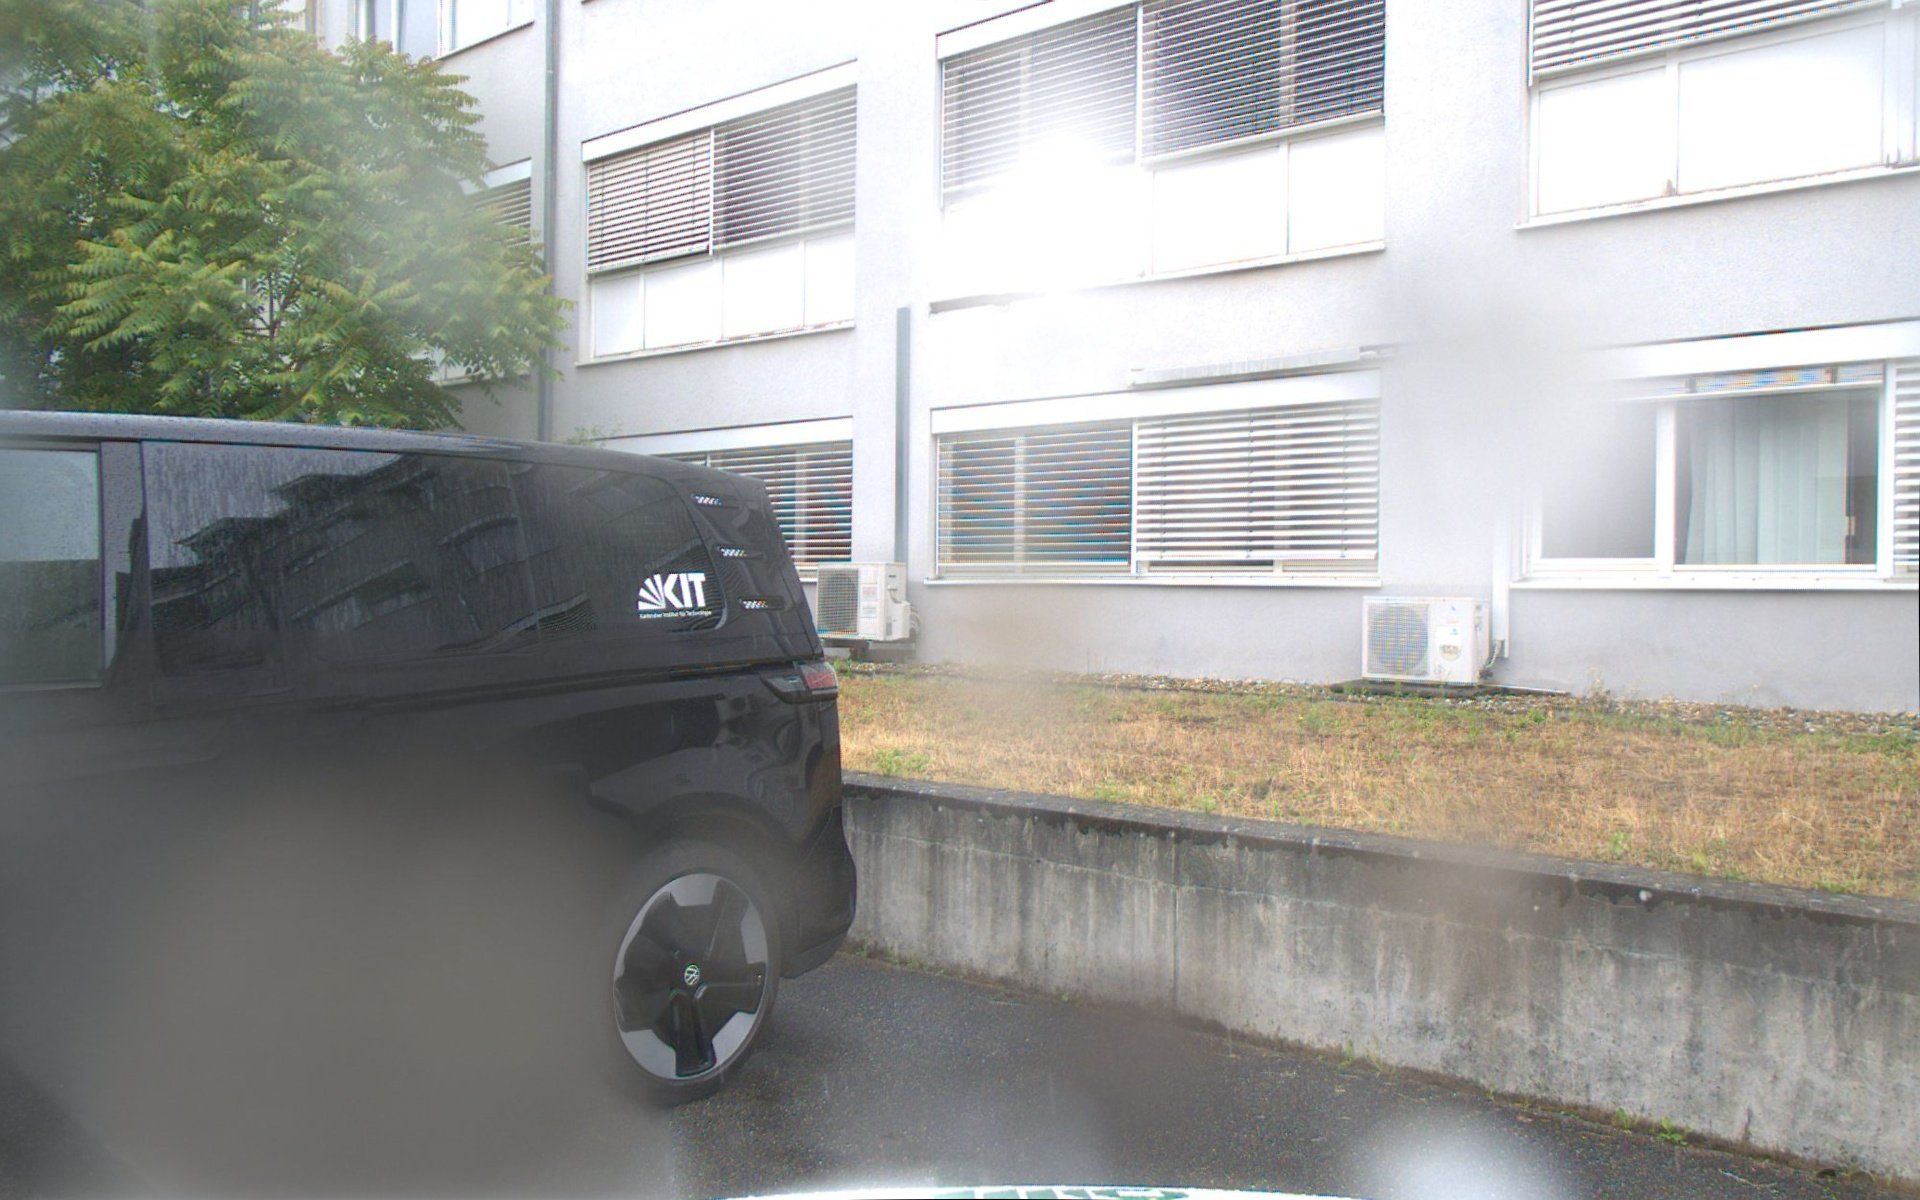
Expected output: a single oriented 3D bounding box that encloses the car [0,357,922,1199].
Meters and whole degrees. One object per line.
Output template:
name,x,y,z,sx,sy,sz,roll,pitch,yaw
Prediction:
car,-2.324,0.499,4.176,2.009,1.930,4.498,0,0,40
